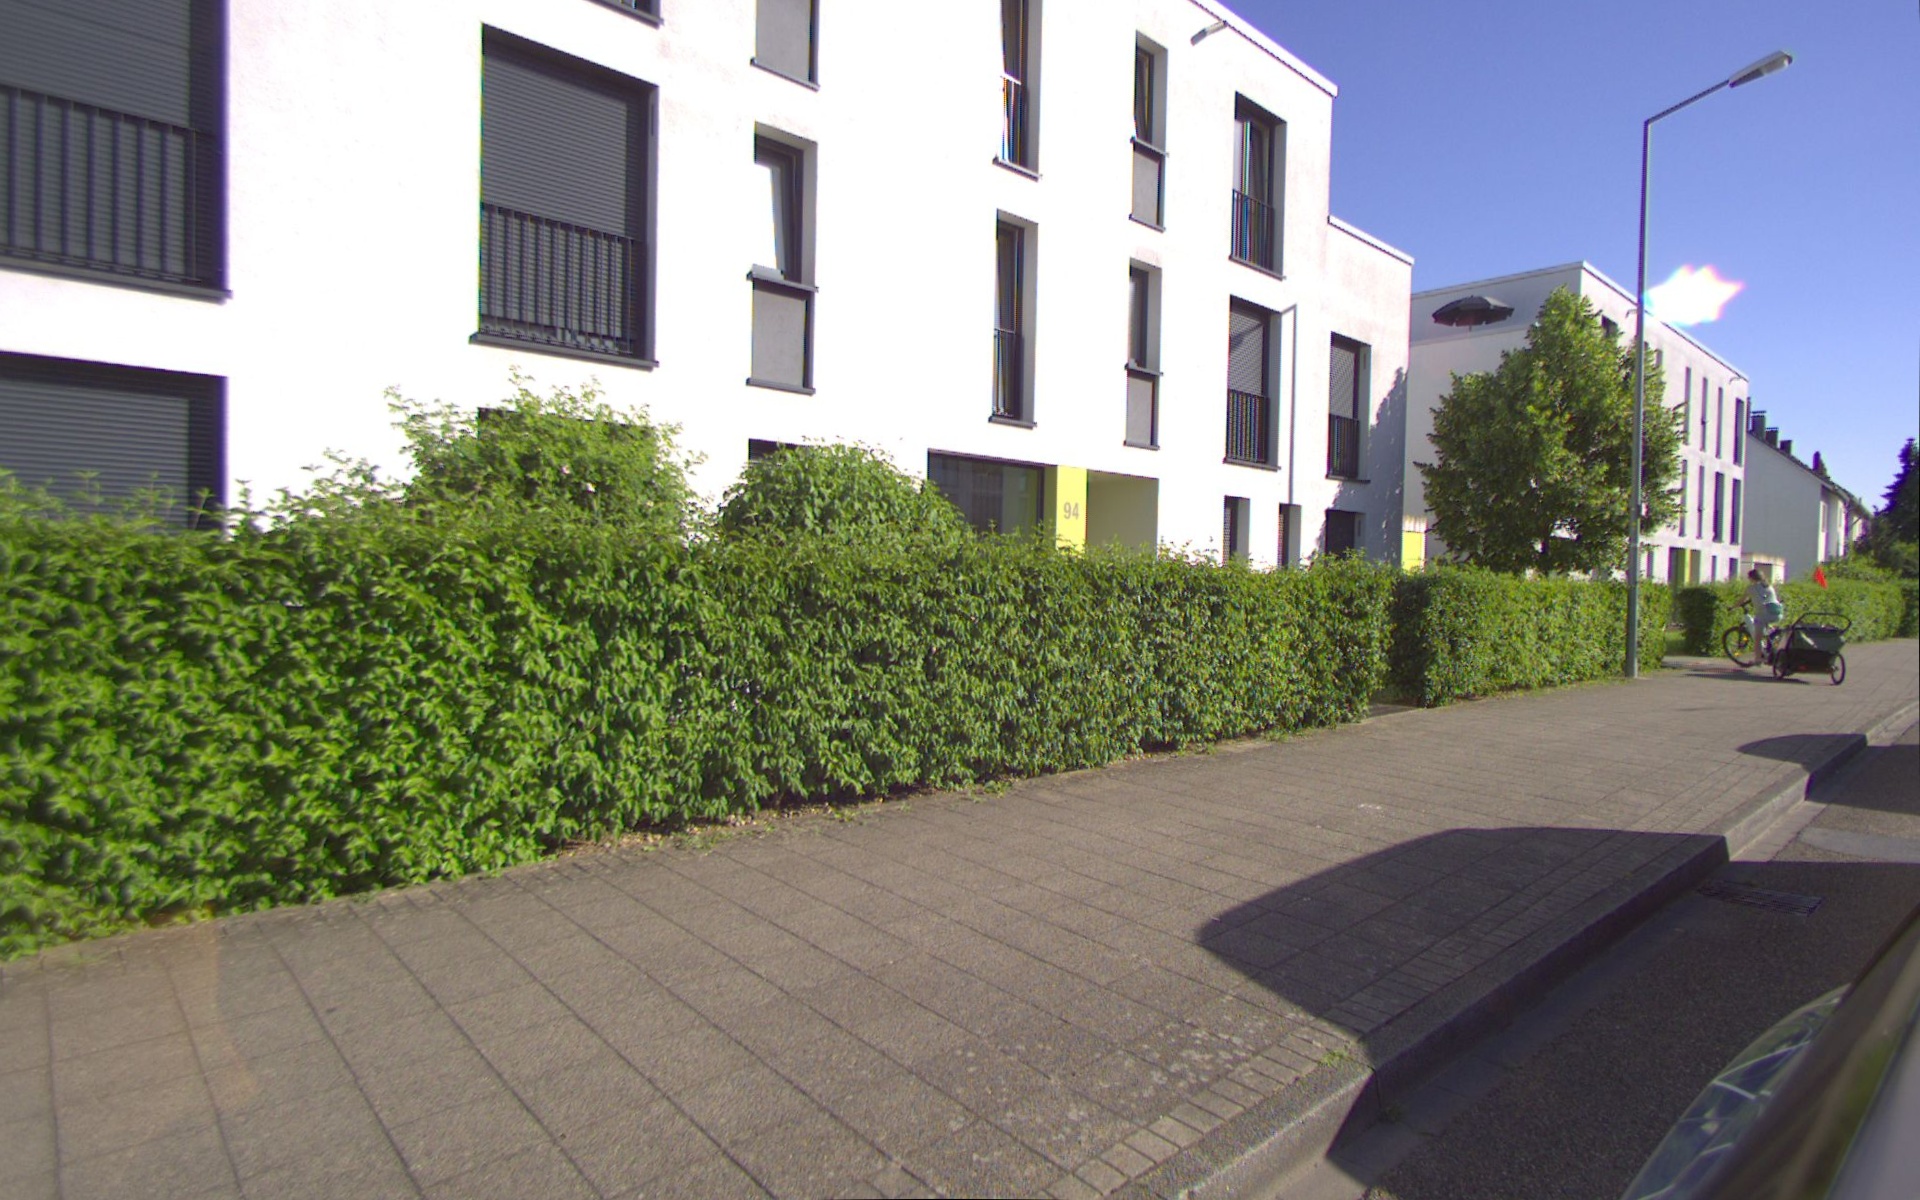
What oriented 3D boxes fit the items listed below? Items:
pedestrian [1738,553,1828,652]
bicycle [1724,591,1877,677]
[{"bbox_3d":[13.910,0.020,17.132,0.903,1.613,0.849,2,2,21],"label":"pedestrian"},{"bbox_3d":[13.708,0.493,16.651,0.920,1.187,3.104,2,2,20],"label":"bicycle"}]
